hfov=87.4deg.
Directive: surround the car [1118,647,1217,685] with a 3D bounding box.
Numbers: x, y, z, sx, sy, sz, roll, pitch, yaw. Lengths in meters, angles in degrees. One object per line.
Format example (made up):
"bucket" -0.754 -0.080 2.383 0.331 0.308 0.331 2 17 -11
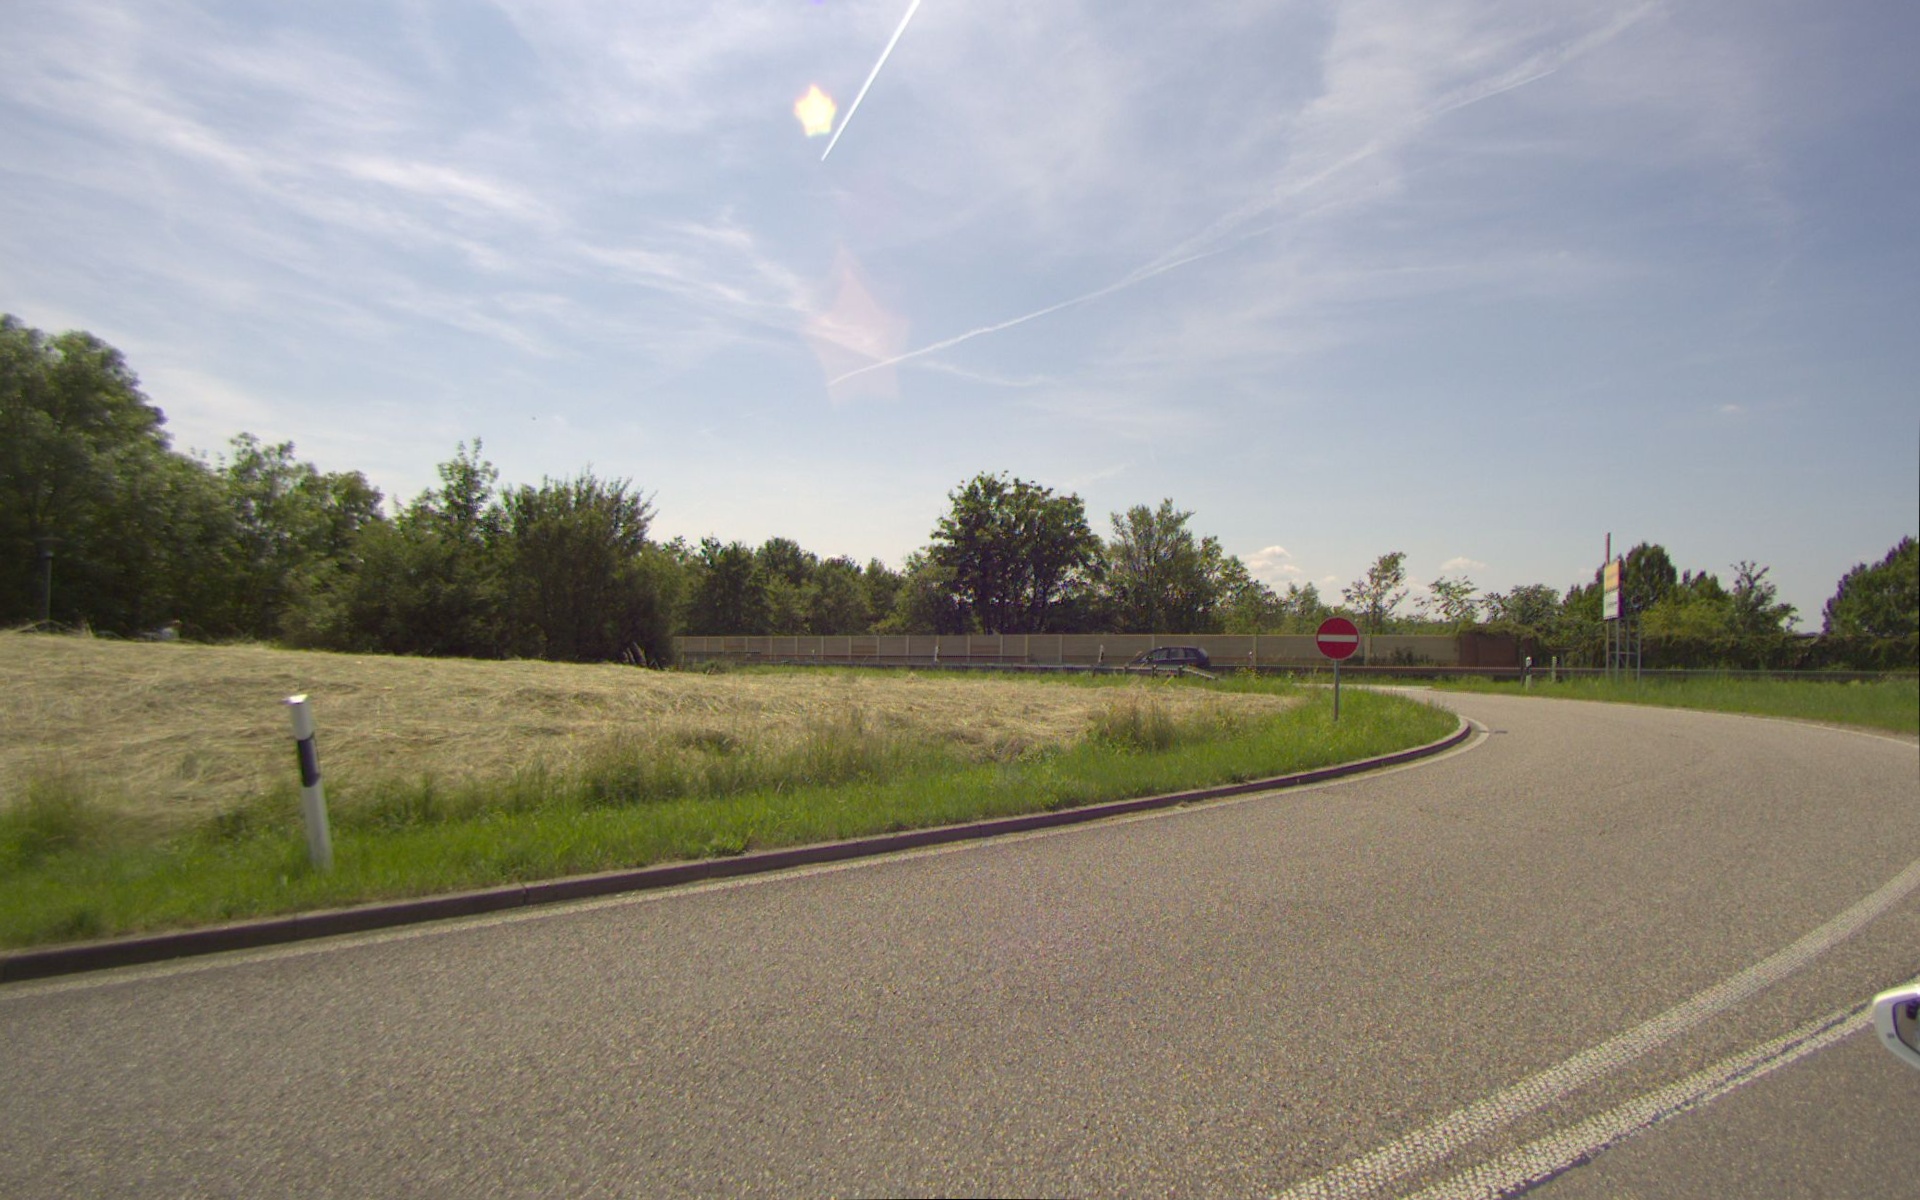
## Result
"car" 9.338 2.940 45.260 4.033 1.559 1.752 -1 -2 29
